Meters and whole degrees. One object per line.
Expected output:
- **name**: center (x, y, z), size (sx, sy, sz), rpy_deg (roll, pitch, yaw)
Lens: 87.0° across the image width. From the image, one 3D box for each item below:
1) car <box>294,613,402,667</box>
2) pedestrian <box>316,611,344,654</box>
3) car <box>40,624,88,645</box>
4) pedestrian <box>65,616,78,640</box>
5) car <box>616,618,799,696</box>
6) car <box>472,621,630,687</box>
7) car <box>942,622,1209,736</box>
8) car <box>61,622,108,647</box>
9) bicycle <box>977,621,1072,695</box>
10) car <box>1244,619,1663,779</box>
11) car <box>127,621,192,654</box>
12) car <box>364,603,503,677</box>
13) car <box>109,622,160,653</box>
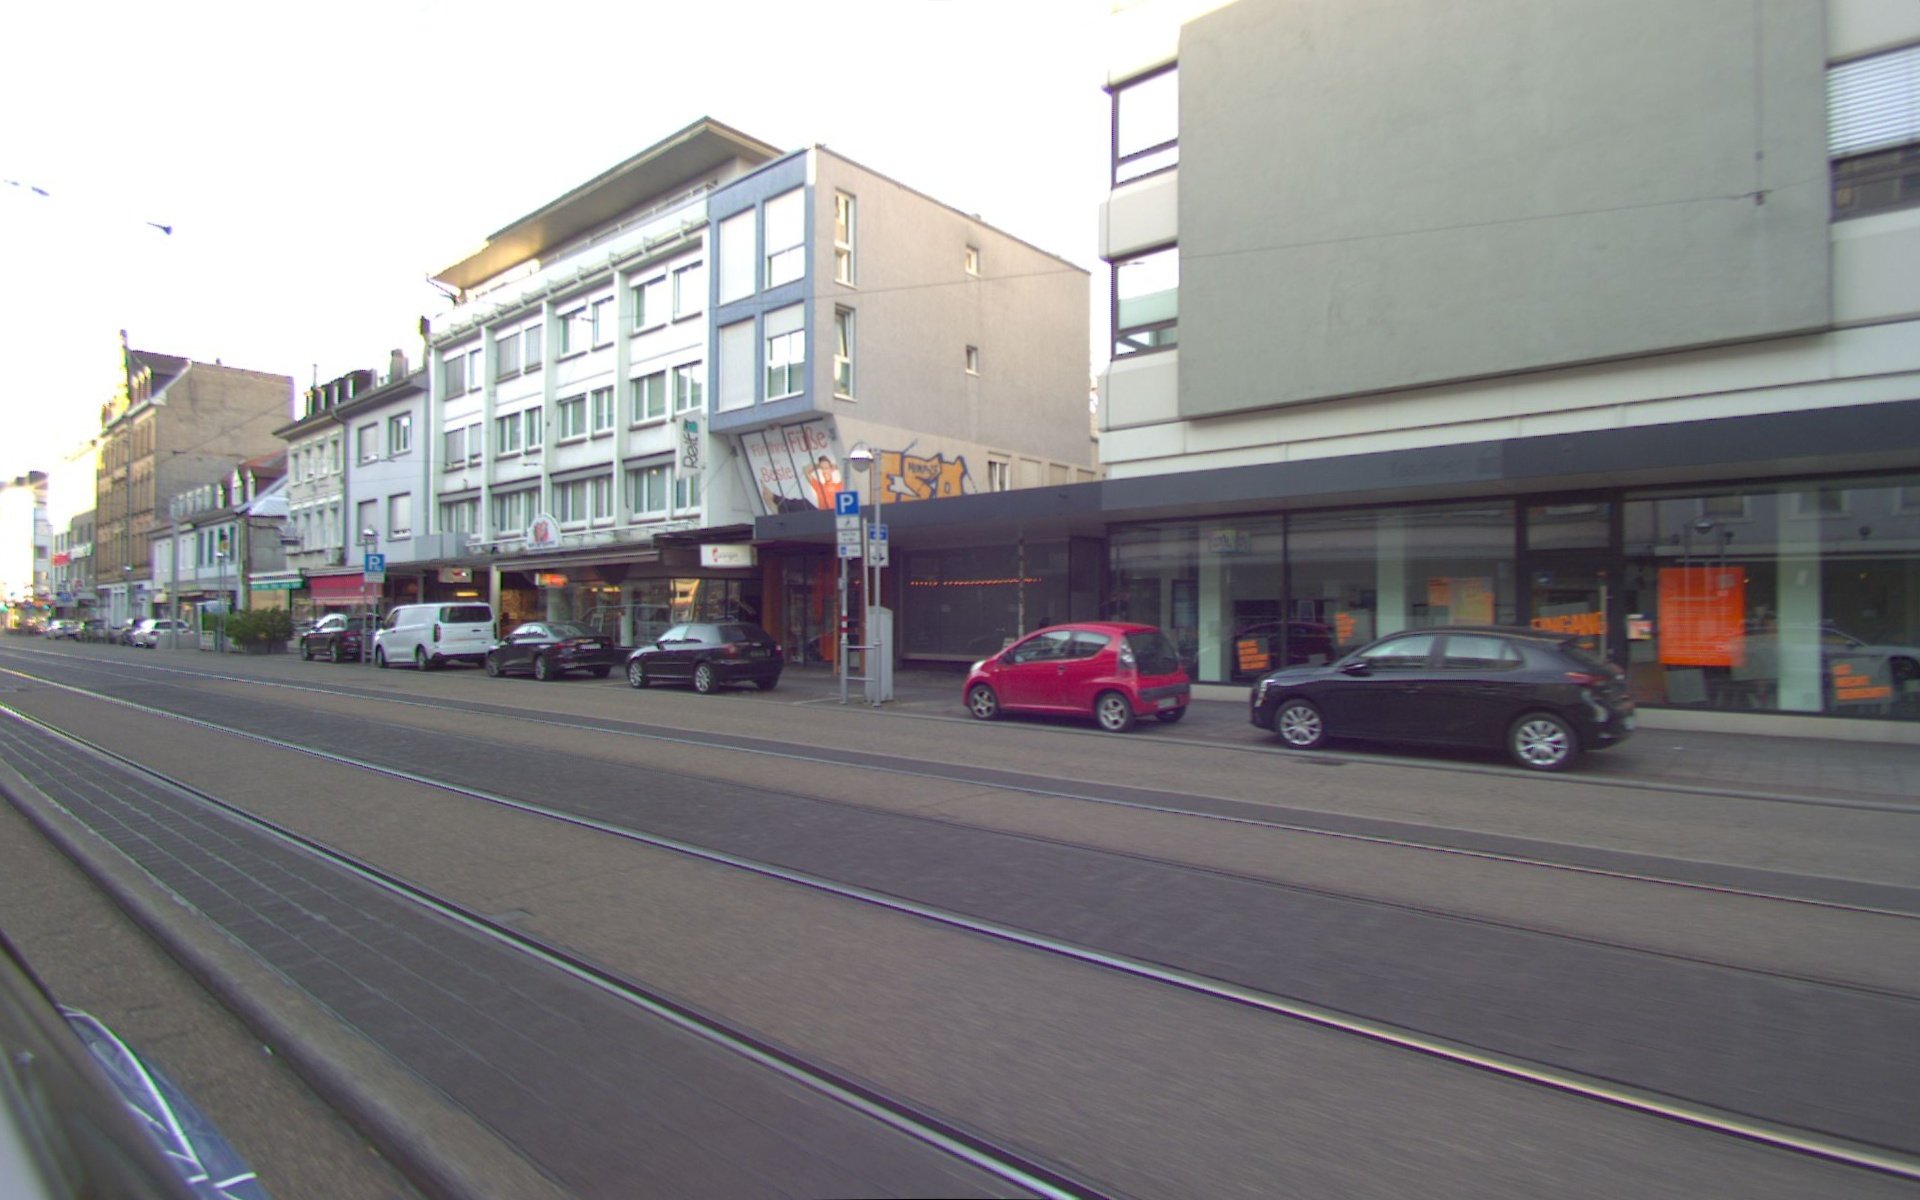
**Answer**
- **car**: center (-21.612, 1.359, 35.670), size (4.586, 1.710, 1.973), rpy_deg (-1, 1, 41)
- **pedestrian**: center (-27.051, 1.373, 43.470), size (0.818, 1.795, 0.809), rpy_deg (-1, 0, 41)
- **car**: center (-66.599, 2.542, 75.197), size (4.399, 1.431, 1.974), rpy_deg (-1, 1, 39)
- **pedestrian**: center (-74.922, 2.366, 85.381), size (0.738, 2.029, 1.049), rpy_deg (-1, 0, -45)
- **car**: center (-5.361, 1.130, 21.239), size (4.090, 1.472, 1.771), rpy_deg (-1, -2, 42)
- **car**: center (-10.433, 1.287, 25.666), size (4.569, 1.437, 1.852), rpy_deg (-1, 1, 41)
- **car**: center (1.626, 1.061, 14.878), size (3.590, 1.445, 1.674), rpy_deg (-1, -1, 41)
- **car**: center (-57.770, 2.234, 66.737), size (3.814, 1.504, 1.822), rpy_deg (-1, 1, 41)
- **bicycle**: center (1.344, 1.138, 20.598), size (0.875, 1.350, 2.025), rpy_deg (-1, 1, 41)
- **car**: center (5.460, 0.982, 11.486), size (3.963, 1.436, 1.674), rpy_deg (-1, 0, 41)
- **car**: center (-42.222, 1.952, 53.323), size (4.621, 1.568, 1.872), rpy_deg (-1, 1, 41)
- **car**: center (-15.992, 1.142, 30.622), size (5.096, 2.029, 1.944), rpy_deg (-1, 1, 40)
- **car**: center (-46.061, 2.060, 56.445), size (3.469, 1.582, 1.638), rpy_deg (-1, 1, 41)
